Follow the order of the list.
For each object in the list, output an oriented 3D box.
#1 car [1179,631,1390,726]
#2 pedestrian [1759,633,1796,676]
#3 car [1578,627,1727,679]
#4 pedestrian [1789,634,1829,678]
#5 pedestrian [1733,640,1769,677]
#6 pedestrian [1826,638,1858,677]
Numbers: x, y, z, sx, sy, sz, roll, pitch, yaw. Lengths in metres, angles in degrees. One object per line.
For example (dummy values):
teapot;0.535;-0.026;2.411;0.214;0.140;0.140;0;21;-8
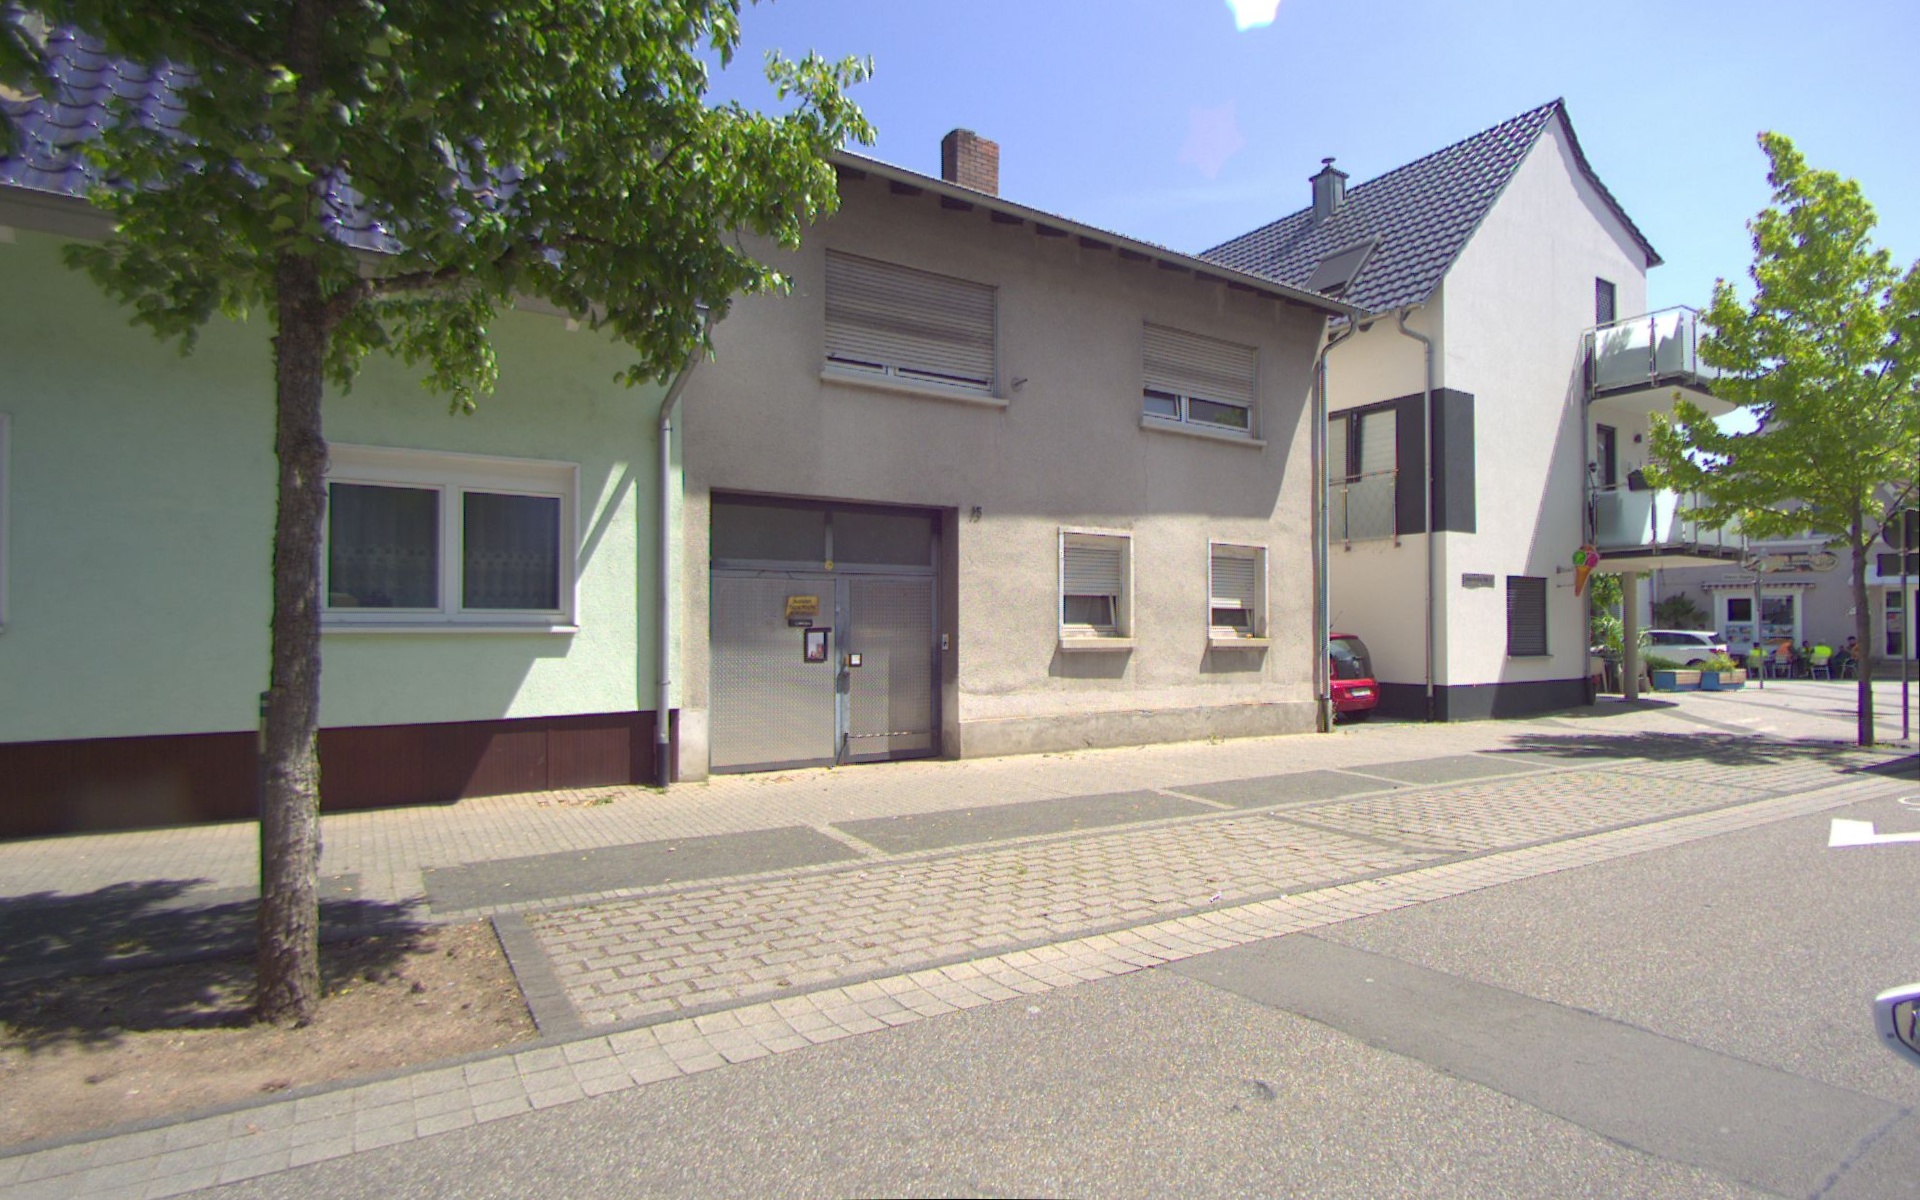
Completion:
car;5.438;1.253;17.090;1.572;1.462;3.092;1;-2;-37
pedestrian;26.185;1.733;32.174;0.623;1.306;0.790;2;0;15
car;22.733;1.699;33.070;3.872;1.566;1.510;-2;0;42
pedestrian;26.373;1.717;31.208;0.623;1.306;0.790;2;0;15
pedestrian;25.227;1.863;32.051;0.623;1.131;0.790;2;0;15
pedestrian;27.596;1.789;31.419;0.690;1.194;0.617;1;-2;-36
